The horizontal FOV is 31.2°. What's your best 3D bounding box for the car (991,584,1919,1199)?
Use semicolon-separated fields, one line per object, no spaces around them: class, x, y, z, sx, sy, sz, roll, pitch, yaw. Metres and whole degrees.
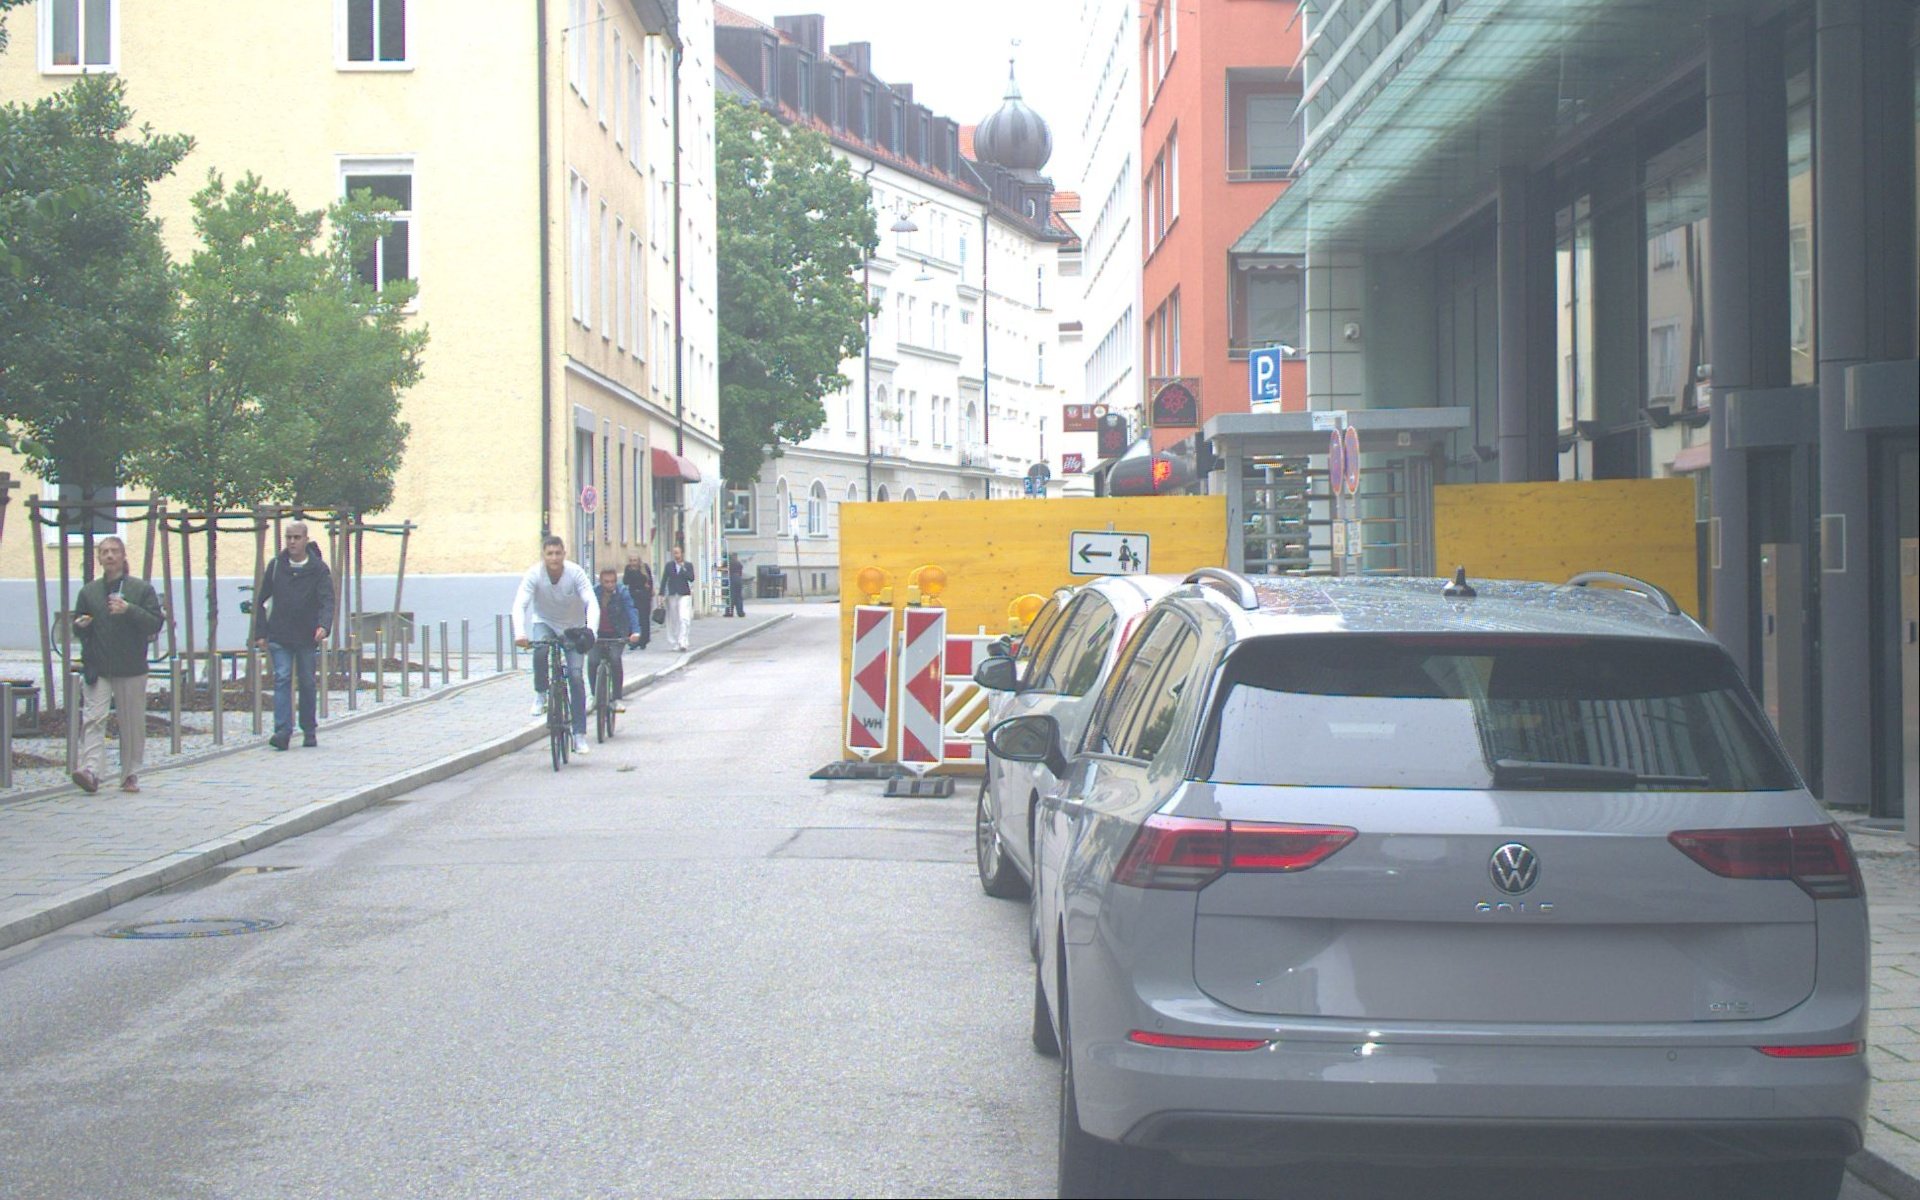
car;1.000;0.688;8.805;1.708;1.427;4.329;0;1;-1

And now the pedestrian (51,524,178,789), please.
pedestrian;-5.414;0.354;22.043;0.647;1.671;0.724;0;0;-1

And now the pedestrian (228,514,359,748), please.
pedestrian;-5.446;0.247;28.142;0.867;1.875;1.135;0;0;-1

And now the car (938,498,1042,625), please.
car;0.581;-0.808;71.377;1.993;2.528;4.975;0;1;-1

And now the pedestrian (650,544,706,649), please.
pedestrian;-4.591;-0.067;56.027;0.839;1.695;0.803;0;0;-1

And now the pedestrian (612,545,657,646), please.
pedestrian;-5.342;-0.073;56.420;0.670;1.642;0.761;0;0;-1

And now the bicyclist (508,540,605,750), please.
bicyclist;-3.212;0.348;27.438;0.659;1.637;0.895;-1;0;-1

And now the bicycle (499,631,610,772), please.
bicycle;-3.214;0.788;27.372;0.661;1.035;2.005;-1;1;-1

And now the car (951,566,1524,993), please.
car;0.966;0.614;14.099;1.707;1.462;4.238;1;0;-4

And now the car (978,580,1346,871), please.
car;1.009;0.610;19.260;1.708;1.409;4.510;1;0;-1

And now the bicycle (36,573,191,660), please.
bicycle;-11.875;0.221;48.236;2.044;1.193;0.570;0;1;7

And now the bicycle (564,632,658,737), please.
bicycle;-3.234;0.776;32.020;0.707;0.902;1.809;-1;1;-1

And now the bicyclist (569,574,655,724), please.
bicyclist;-3.229;0.449;31.962;0.707;1.366;0.813;-1;1;-1

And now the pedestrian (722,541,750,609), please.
pedestrian;-5.478;-0.617;84.054;0.634;1.669;0.517;0;1;-1
